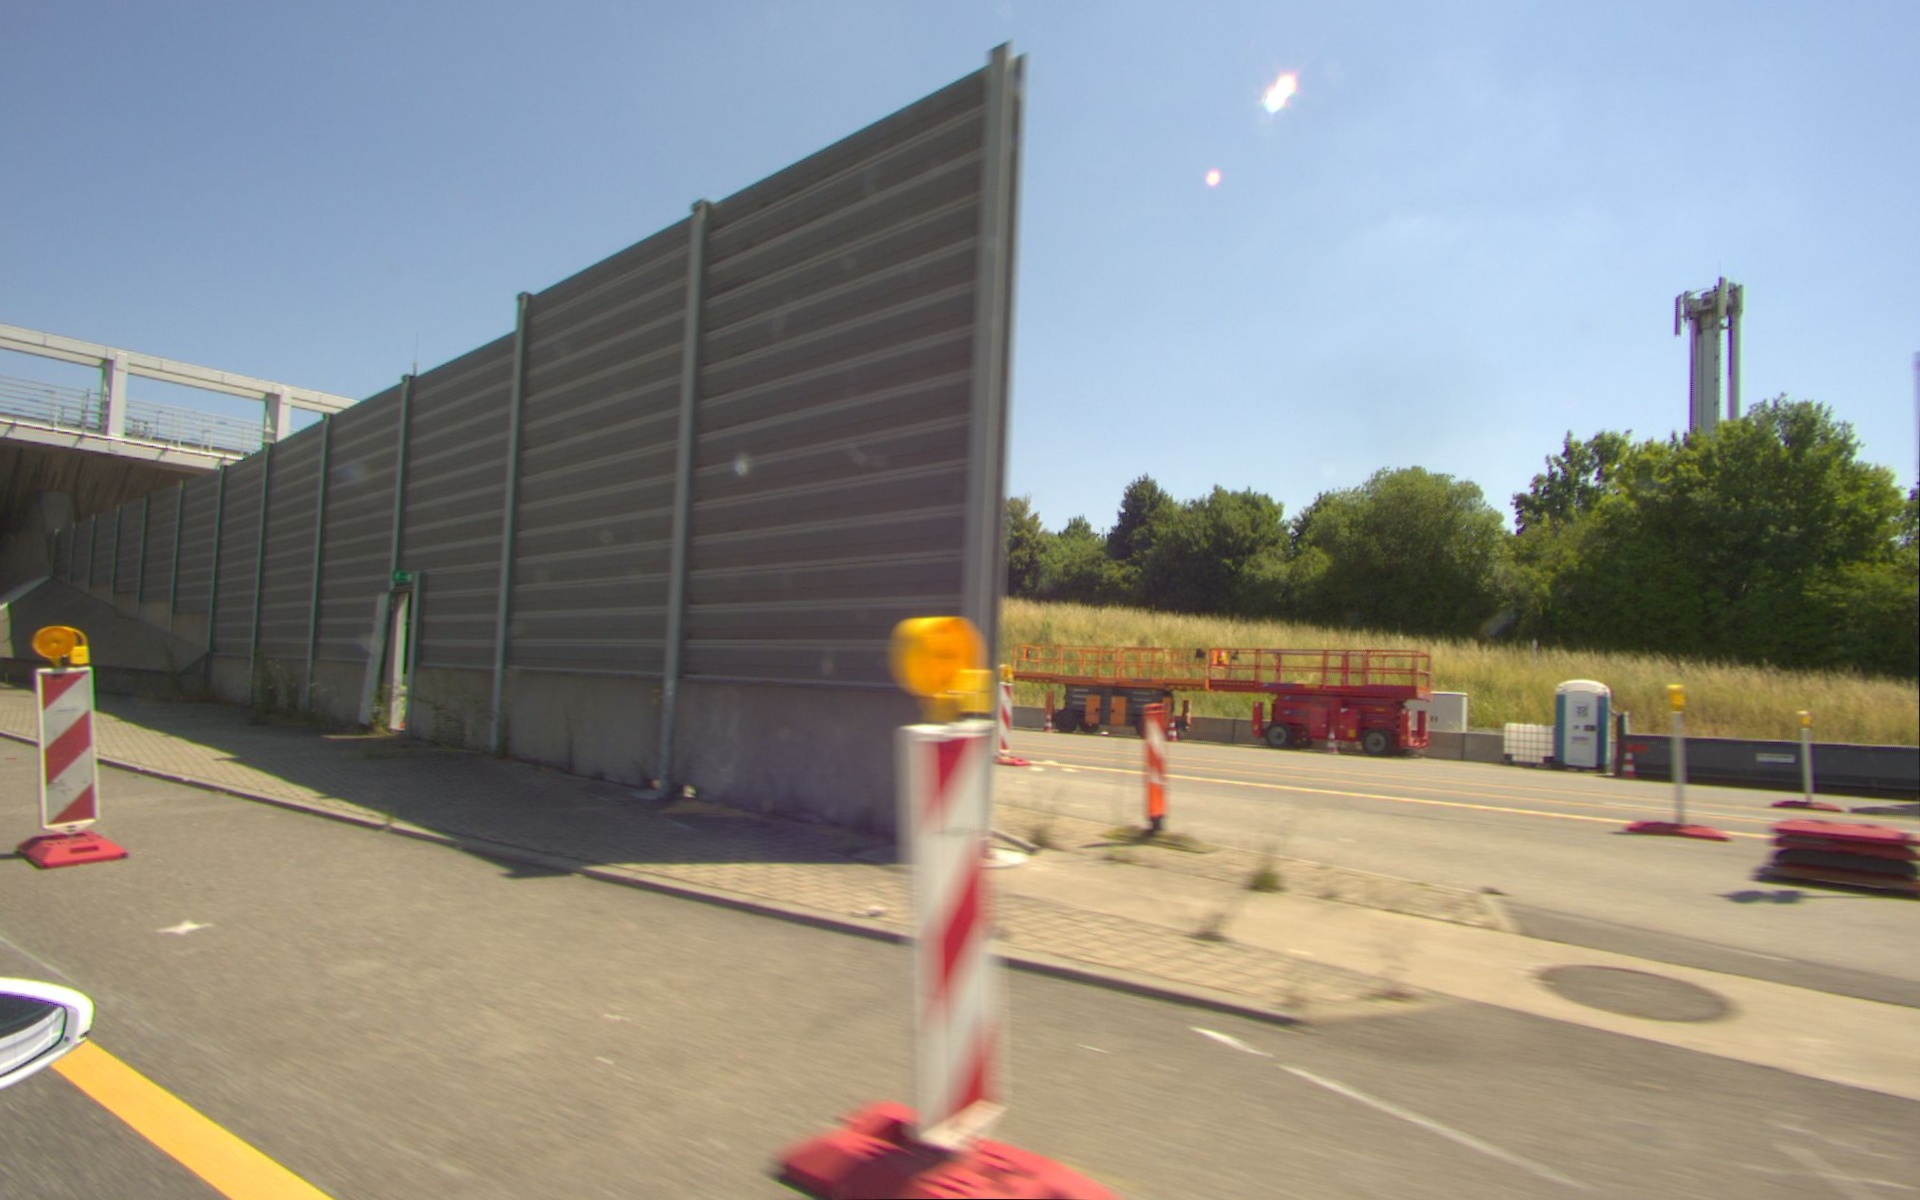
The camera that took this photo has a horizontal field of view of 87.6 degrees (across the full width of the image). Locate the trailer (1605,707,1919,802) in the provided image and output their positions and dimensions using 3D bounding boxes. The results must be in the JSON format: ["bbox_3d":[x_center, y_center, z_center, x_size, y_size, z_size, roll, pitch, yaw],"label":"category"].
[{"bbox_3d":[18.173,3.383,22.470,6.146,1.588,2.592,0,-4,32],"label":"trailer"}]

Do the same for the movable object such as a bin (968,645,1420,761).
[{"bbox_3d":[7.069,3.128,33.098,14.509,3.047,3.104,-1,-4,36],"label":"movable object such as a bin"}]
